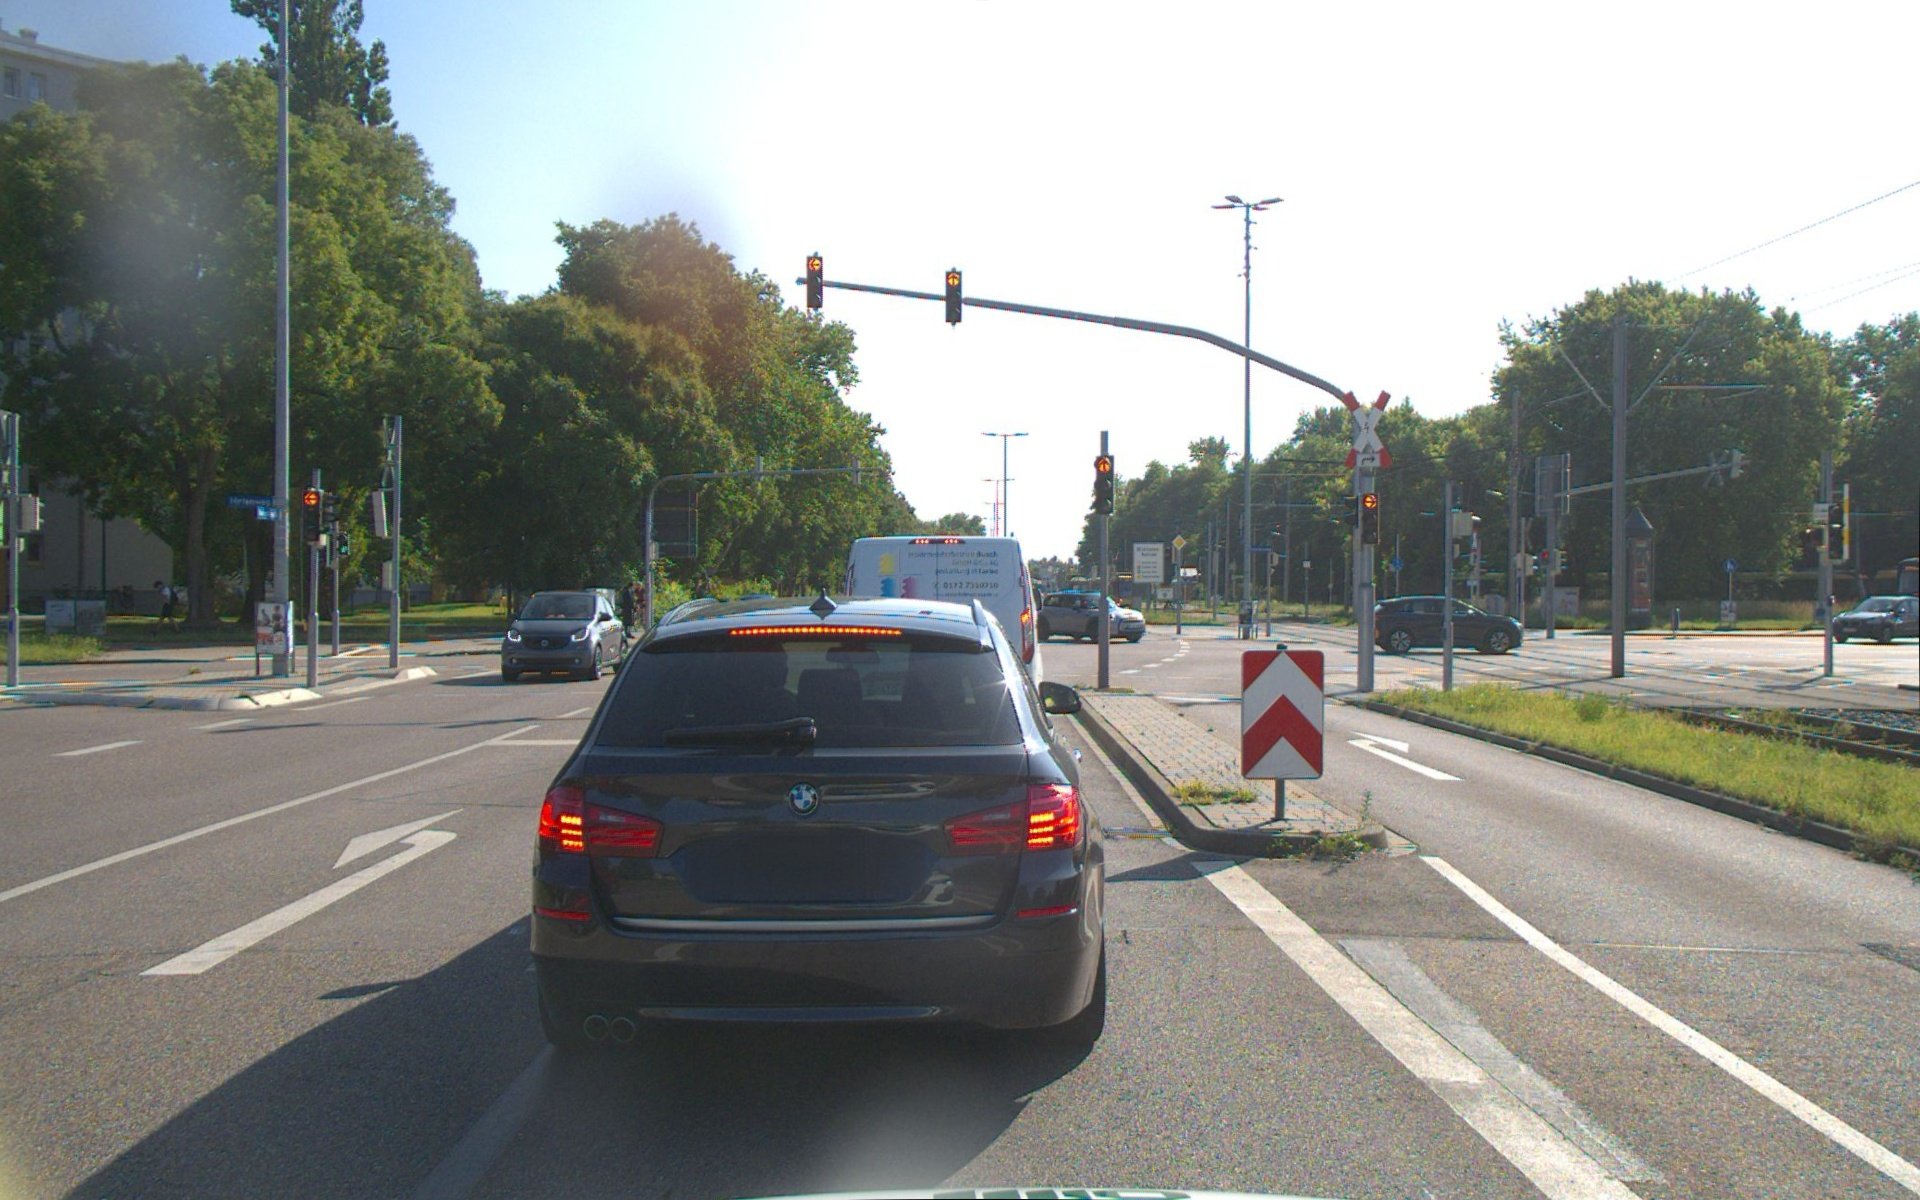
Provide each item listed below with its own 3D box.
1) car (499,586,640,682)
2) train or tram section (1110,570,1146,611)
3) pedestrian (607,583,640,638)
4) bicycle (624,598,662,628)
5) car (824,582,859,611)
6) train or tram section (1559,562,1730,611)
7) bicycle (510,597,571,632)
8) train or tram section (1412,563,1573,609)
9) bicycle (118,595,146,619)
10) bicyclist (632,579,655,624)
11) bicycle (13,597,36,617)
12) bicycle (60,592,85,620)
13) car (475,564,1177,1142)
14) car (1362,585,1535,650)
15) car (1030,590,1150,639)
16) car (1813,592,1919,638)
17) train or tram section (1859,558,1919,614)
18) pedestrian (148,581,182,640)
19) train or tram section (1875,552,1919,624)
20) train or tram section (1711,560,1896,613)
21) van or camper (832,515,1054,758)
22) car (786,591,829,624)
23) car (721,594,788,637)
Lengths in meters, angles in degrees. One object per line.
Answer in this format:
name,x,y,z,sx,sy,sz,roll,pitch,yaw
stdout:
car,-6.994,0.566,29.945,1.599,1.587,3.676,-2,0,1
train or tram section,15.835,-0.840,156.607,2.738,3.681,12.960,1,0,3
pedestrian,-11.071,0.351,54.447,0.798,1.782,0.932,0,0,5
bicycle,-11.385,0.454,59.422,0.606,1.058,2.073,0,0,11
car,-6.836,-0.193,95.568,1.709,1.589,4.000,-2,0,0
train or tram section,53.296,-1.046,128.977,11.984,3.642,3.043,0,0,36
bicycle,-13.801,0.487,54.442,1.870,1.138,0.632,0,0,-1
train or tram section,43.535,-1.140,135.488,12.170,3.642,3.048,0,0,31
bicycle,-33.464,0.266,66.819,0.663,0.936,2.377,0,1,-35
bicyclist,-11.378,0.053,59.472,0.594,1.587,0.603,0,0,11
bicycle,-36.595,0.265,64.701,0.578,0.721,2.211,0,1,-35
bicycle,-35.167,0.243,65.536,0.606,1.085,1.892,1,-2,-37
car,-0.376,0.662,6.436,1.864,1.532,4.064,0,0,-1
car,13.935,0.483,47.375,4.509,1.753,1.650,1,0,6
car,3.868,0.398,49.445,1.593,1.408,3.476,0,0,-41
car,32.841,0.502,58.948,4.792,1.590,2.025,0,0,-29
train or tram section,63.755,-0.934,108.486,2.981,3.642,12.231,0,0,0
pedestrian,-24.038,0.302,50.001,0.610,1.742,0.705,0,2,11
train or tram section,52.942,-0.617,87.849,11.721,3.642,3.015,0,0,-37
train or tram section,60.938,-0.959,119.887,3.017,3.642,12.087,0,0,-34
van or camper,-0.121,0.303,16.833,1.952,2.133,4.599,0,0,1
car,-7.456,0.341,81.063,1.667,1.490,4.369,-1,0,0
car,-7.201,0.508,58.272,1.742,1.439,4.245,0,0,1
